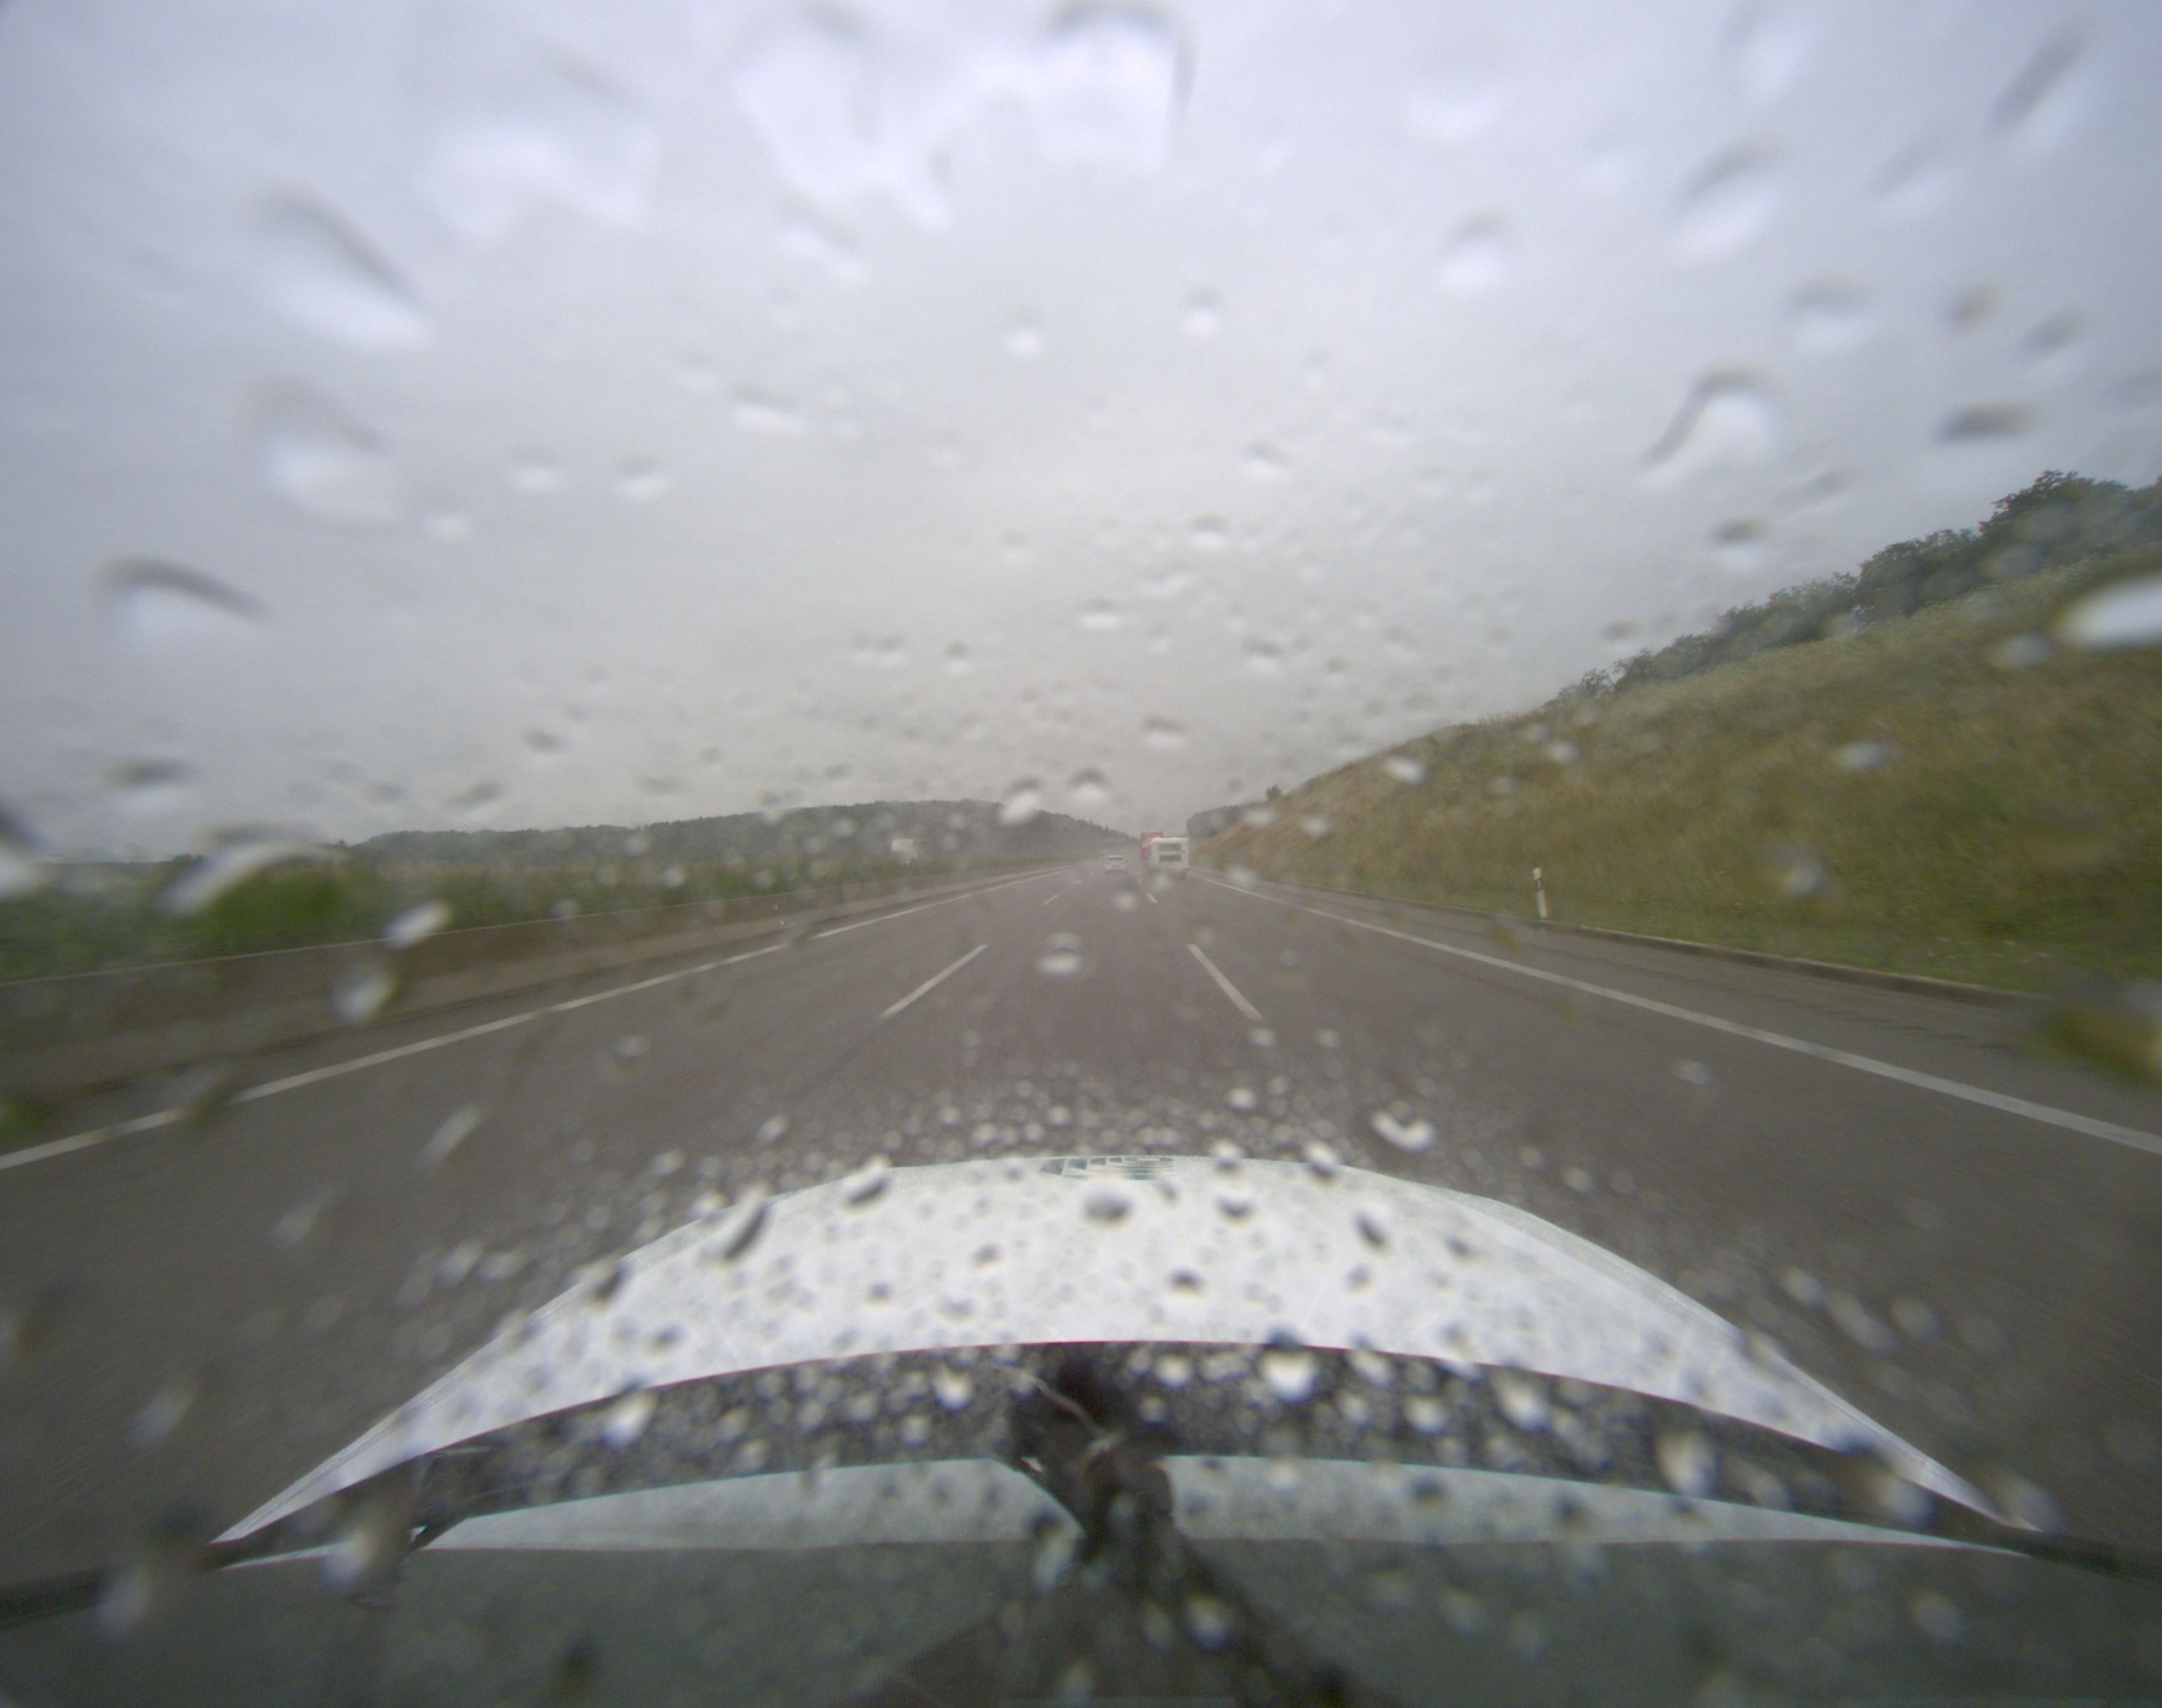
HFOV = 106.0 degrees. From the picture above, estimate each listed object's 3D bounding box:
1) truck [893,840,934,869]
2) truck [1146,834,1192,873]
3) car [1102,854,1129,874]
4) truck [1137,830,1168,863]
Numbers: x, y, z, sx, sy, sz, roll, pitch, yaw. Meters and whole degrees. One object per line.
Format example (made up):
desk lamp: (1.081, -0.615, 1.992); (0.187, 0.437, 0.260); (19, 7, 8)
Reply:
truck: (-15.142, 0.091, 74.004); (2.165, 2.447, 6.795); (-1, -2, 2)
truck: (5.418, -0.010, 50.610); (2.399, 2.252, 4.693); (-1, 0, 1)
car: (2.607, 0.753, 62.483); (1.861, 1.463, 3.999); (-1, -1, 0)
truck: (8.687, -0.901, 99.395); (3.510, 3.742, 11.442); (-1, 1, 5)
